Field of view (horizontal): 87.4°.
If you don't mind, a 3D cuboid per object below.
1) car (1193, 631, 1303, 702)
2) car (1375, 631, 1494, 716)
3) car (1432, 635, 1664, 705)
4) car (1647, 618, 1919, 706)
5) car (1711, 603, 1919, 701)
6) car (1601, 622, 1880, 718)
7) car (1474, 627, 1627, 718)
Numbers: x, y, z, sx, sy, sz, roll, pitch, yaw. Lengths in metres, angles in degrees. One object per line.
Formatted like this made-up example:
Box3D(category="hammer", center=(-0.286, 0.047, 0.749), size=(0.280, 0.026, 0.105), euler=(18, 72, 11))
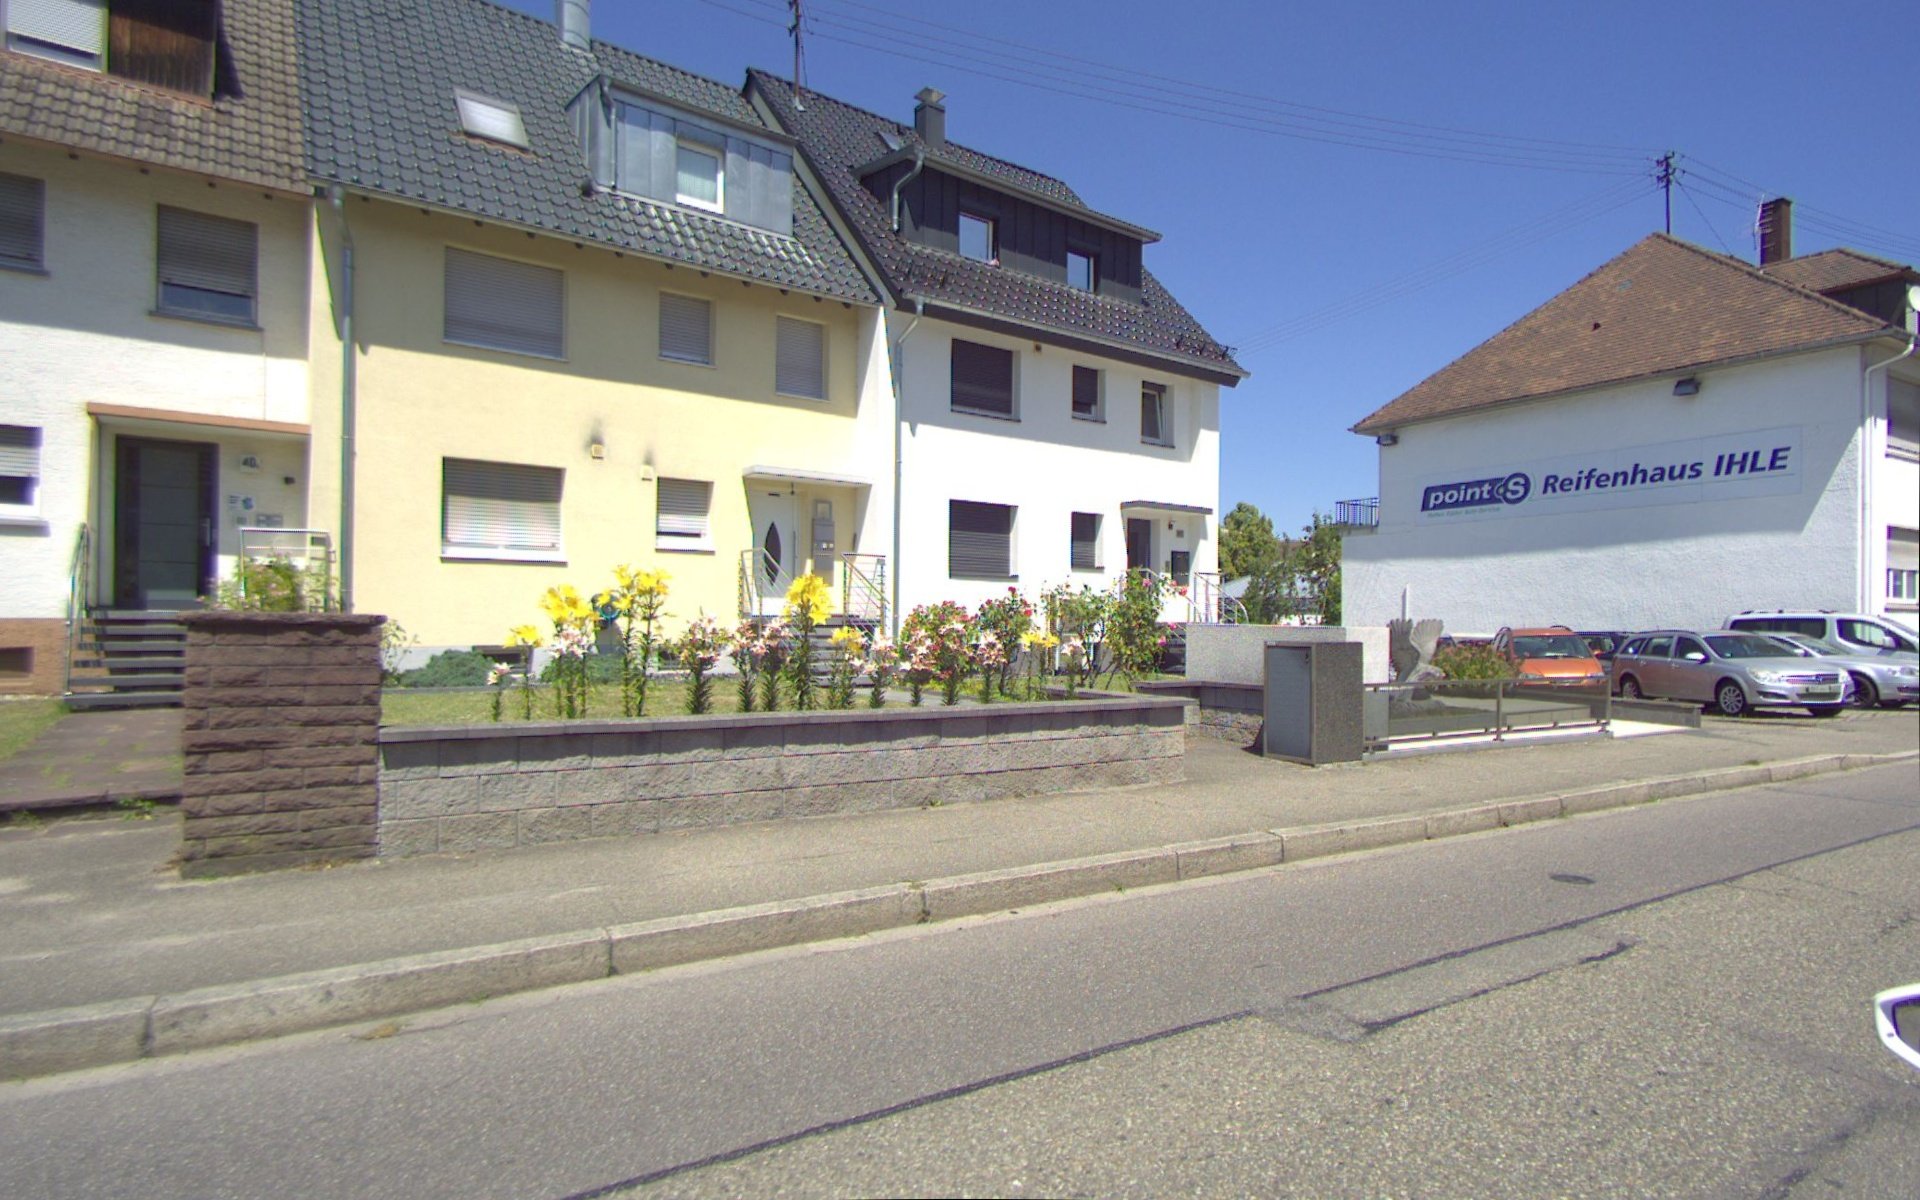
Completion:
Box3D(category="car", center=(8.008, 1.783, 27.692), size=(1.794, 1.779, 4.176), euler=(-4, -3, 31))
Box3D(category="car", center=(10.611, 1.638, 22.743), size=(1.961, 1.750, 4.001), euler=(-2, -4, 19))
Box3D(category="car", center=(14.060, 1.733, 24.333), size=(1.951, 1.514, 4.457), euler=(0, -5, -27))
Box3D(category="car", center=(16.522, 1.180, 19.849), size=(1.951, 1.515, 4.455), euler=(1, -3, -27))
Box3D(category="car", center=(18.639, 1.082, 21.024), size=(1.832, 1.901, 4.322), euler=(1, -3, -36))
Box3D(category="car", center=(13.905, 1.216, 18.285), size=(1.839, 1.515, 4.277), euler=(-1, -2, 3))
Box3D(category="car", center=(11.979, 1.436, 20.681), size=(1.816, 1.666, 4.209), euler=(-1, -3, 18))
